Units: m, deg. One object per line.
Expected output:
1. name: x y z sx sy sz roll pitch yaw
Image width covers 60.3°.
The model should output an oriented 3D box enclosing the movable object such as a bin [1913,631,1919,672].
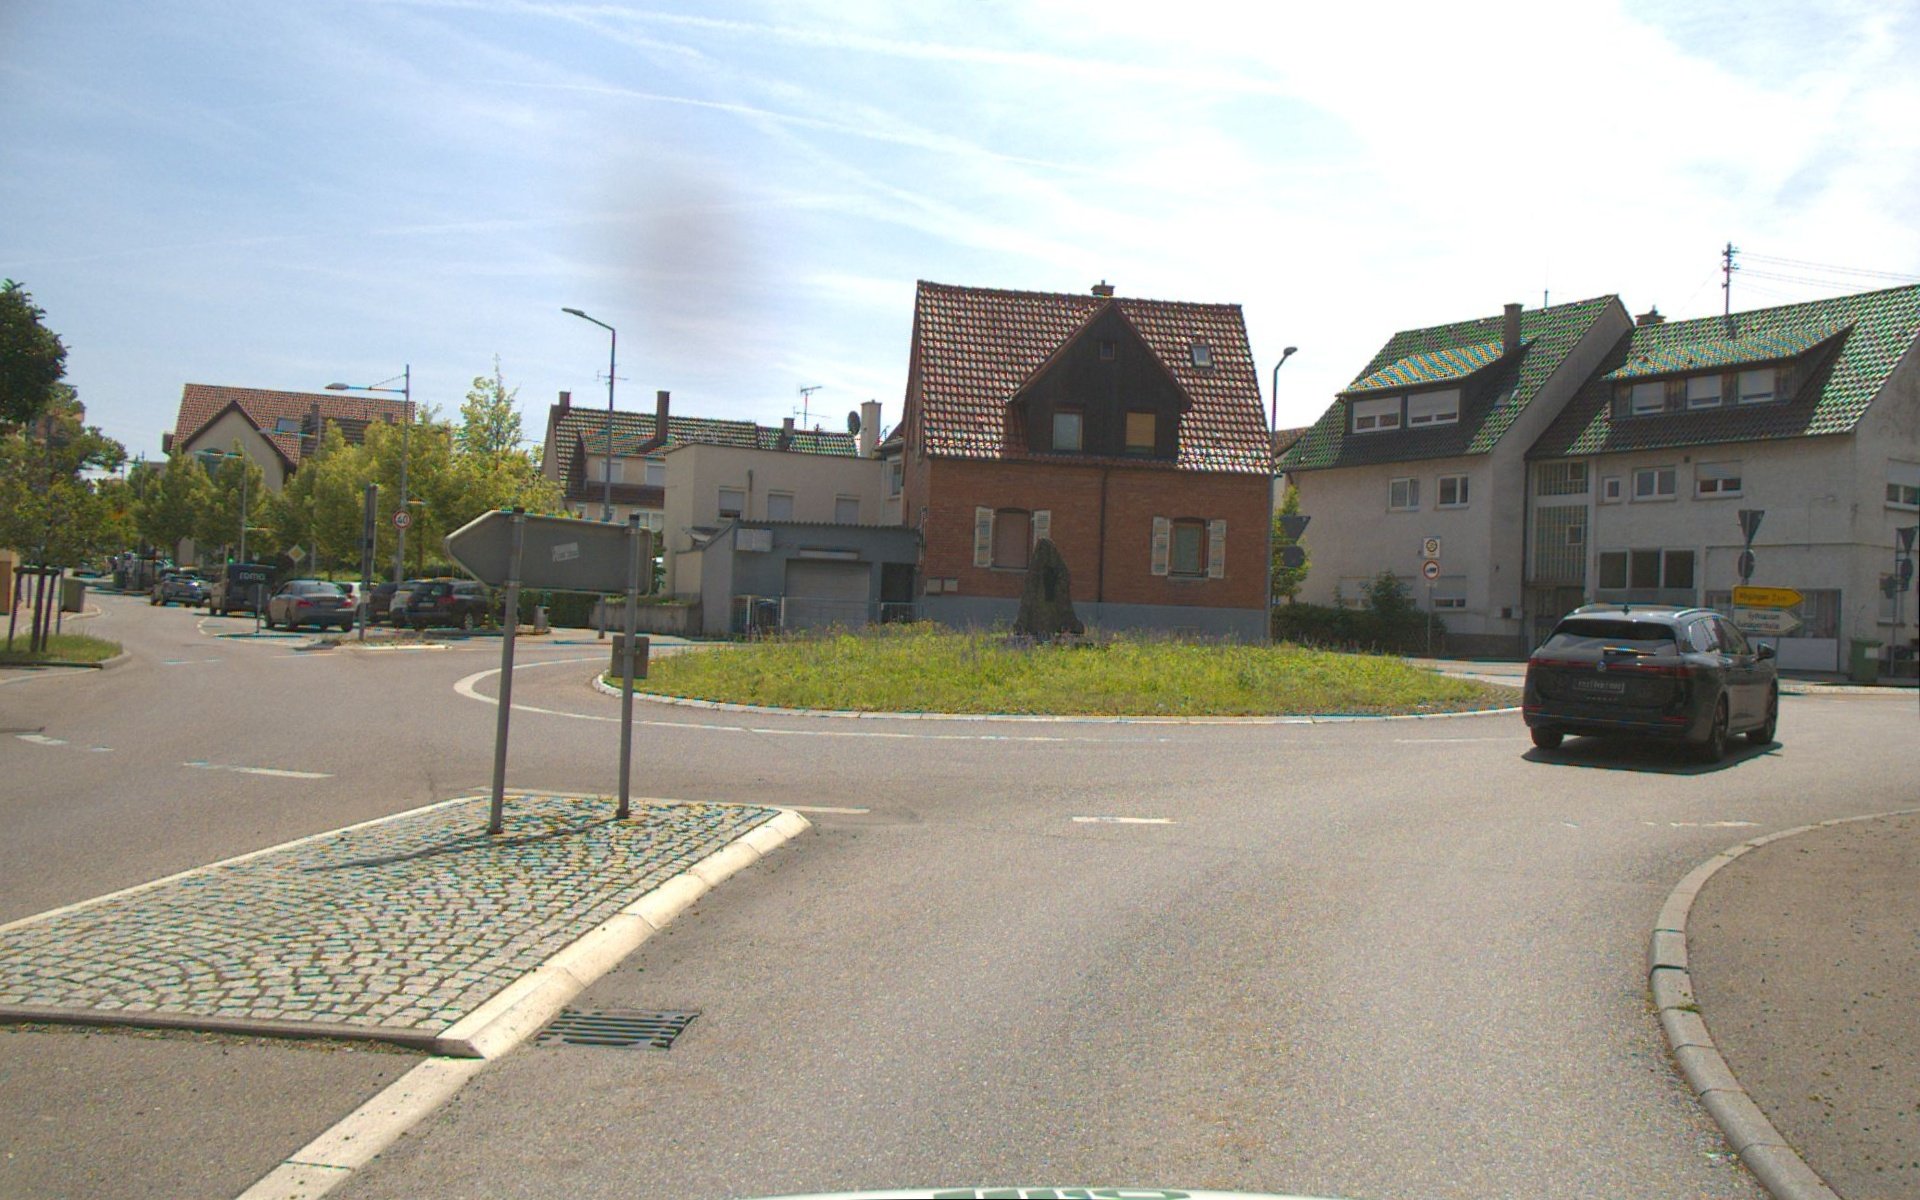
1. movable object such as a bin: 26.418 1.423 44.936 0.637 1.105 0.677 2 0 -33

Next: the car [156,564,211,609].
1. car: -37.930 -0.673 80.723 2.089 2.049 3.960 2 -1 -30

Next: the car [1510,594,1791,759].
1. car: 7.383 0.715 17.395 1.810 1.445 4.666 2 0 34

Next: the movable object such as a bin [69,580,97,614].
1. movable object such as a bin: -28.155 -0.094 53.100 0.691 1.070 0.667 1 0 -35

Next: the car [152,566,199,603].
1. car: -45.781 -0.930 96.480 2.089 2.049 3.960 2 -1 -30

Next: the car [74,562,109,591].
1. car: -63.988 -1.716 121.895 2.089 2.049 3.960 2 -1 -30

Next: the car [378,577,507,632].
1. car: -16.676 0.161 53.473 1.775 1.646 3.998 2 0 23

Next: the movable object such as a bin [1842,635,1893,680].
1. movable object such as a bin: 22.238 1.402 40.543 0.807 1.063 0.811 1 0 4

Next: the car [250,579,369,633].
1. car: -18.893 0.164 47.972 1.862 1.415 4.151 3 -1 -42

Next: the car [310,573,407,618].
1. car: -24.333 -0.173 67.076 1.826 1.698 4.003 2 0 11

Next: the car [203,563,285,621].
1. car: -26.901 -0.303 62.051 2.093 2.049 3.953 2 -1 -34
